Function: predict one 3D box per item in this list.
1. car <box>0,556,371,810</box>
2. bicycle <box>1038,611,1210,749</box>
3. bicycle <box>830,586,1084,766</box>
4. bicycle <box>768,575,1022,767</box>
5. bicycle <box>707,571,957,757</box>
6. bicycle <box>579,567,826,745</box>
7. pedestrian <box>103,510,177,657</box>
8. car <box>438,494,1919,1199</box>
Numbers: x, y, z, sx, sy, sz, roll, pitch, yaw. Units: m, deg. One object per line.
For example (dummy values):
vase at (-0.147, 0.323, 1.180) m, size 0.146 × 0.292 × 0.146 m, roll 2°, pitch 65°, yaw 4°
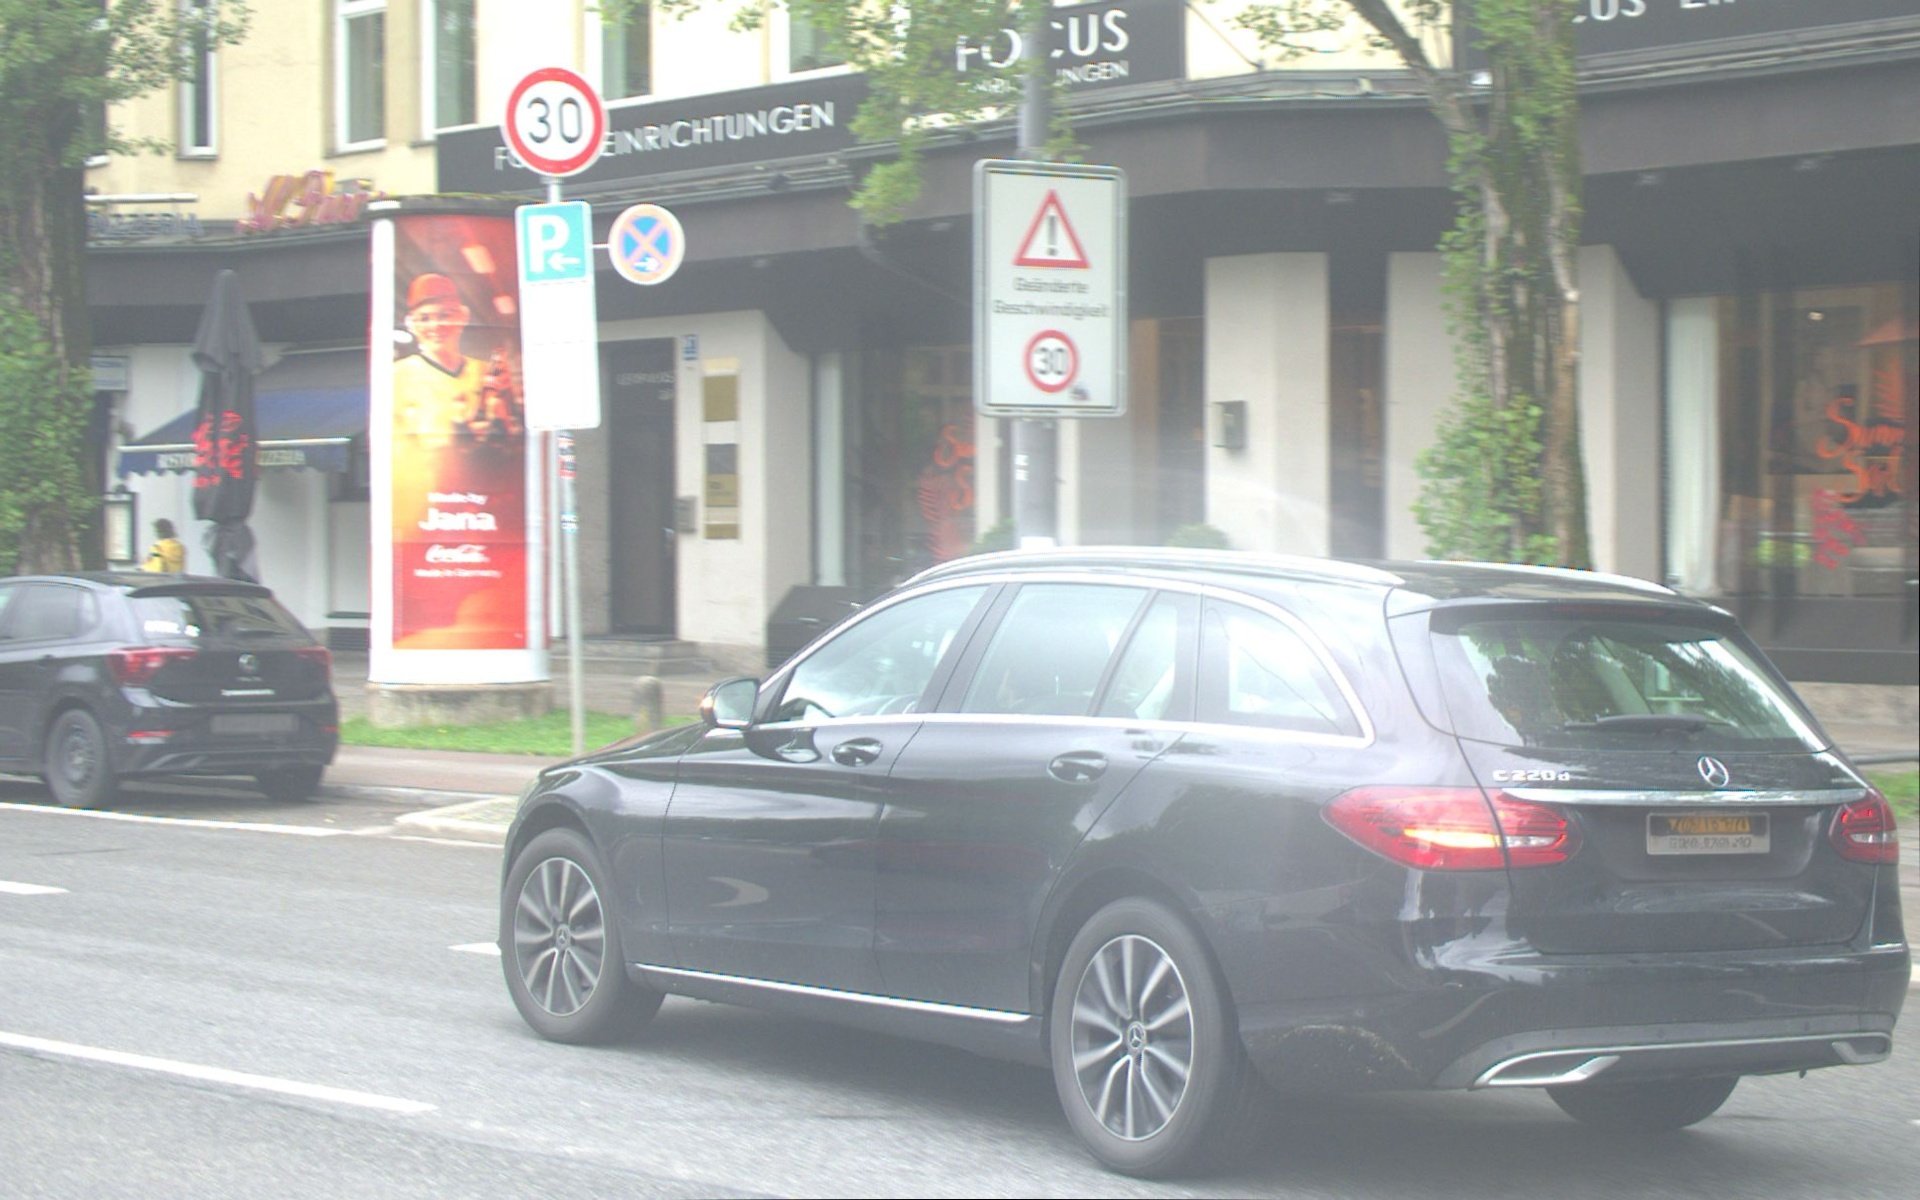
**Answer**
car at (-5.729, 0.457, 21.926) m, size 3.997 × 1.461 × 1.801 m, roll 1°, pitch 1°, yaw 42°
bicycle at (1.132, 0.535, 23.494) m, size 0.388 × 0.880 × 1.368 m, roll 1°, pitch 2°, yaw 43°
bicycle at (0.000, 0.469, 22.181) m, size 0.496 × 1.078 × 1.884 m, roll 1°, pitch 2°, yaw 43°
bicycle at (-0.405, 0.439, 22.521) m, size 0.496 × 1.181 × 1.884 m, roll 1°, pitch 2°, yaw 43°
bicycle at (-0.840, 0.407, 23.078) m, size 0.496 × 1.181 × 1.884 m, roll 1°, pitch 2°, yaw 43°
bicycle at (-1.783, 0.371, 24.058) m, size 0.496 × 1.181 × 1.884 m, roll 1°, pitch 2°, yaw 43°
pedestrian at (-8.849, -0.184, 37.105) m, size 0.573 × 1.557 × 0.495 m, roll 0°, pitch 3°, yaw -44°
car at (0.465, 0.503, 9.169) m, size 1.864 × 1.543 × 4.703 m, roll -1°, pitch 2°, yaw -34°
